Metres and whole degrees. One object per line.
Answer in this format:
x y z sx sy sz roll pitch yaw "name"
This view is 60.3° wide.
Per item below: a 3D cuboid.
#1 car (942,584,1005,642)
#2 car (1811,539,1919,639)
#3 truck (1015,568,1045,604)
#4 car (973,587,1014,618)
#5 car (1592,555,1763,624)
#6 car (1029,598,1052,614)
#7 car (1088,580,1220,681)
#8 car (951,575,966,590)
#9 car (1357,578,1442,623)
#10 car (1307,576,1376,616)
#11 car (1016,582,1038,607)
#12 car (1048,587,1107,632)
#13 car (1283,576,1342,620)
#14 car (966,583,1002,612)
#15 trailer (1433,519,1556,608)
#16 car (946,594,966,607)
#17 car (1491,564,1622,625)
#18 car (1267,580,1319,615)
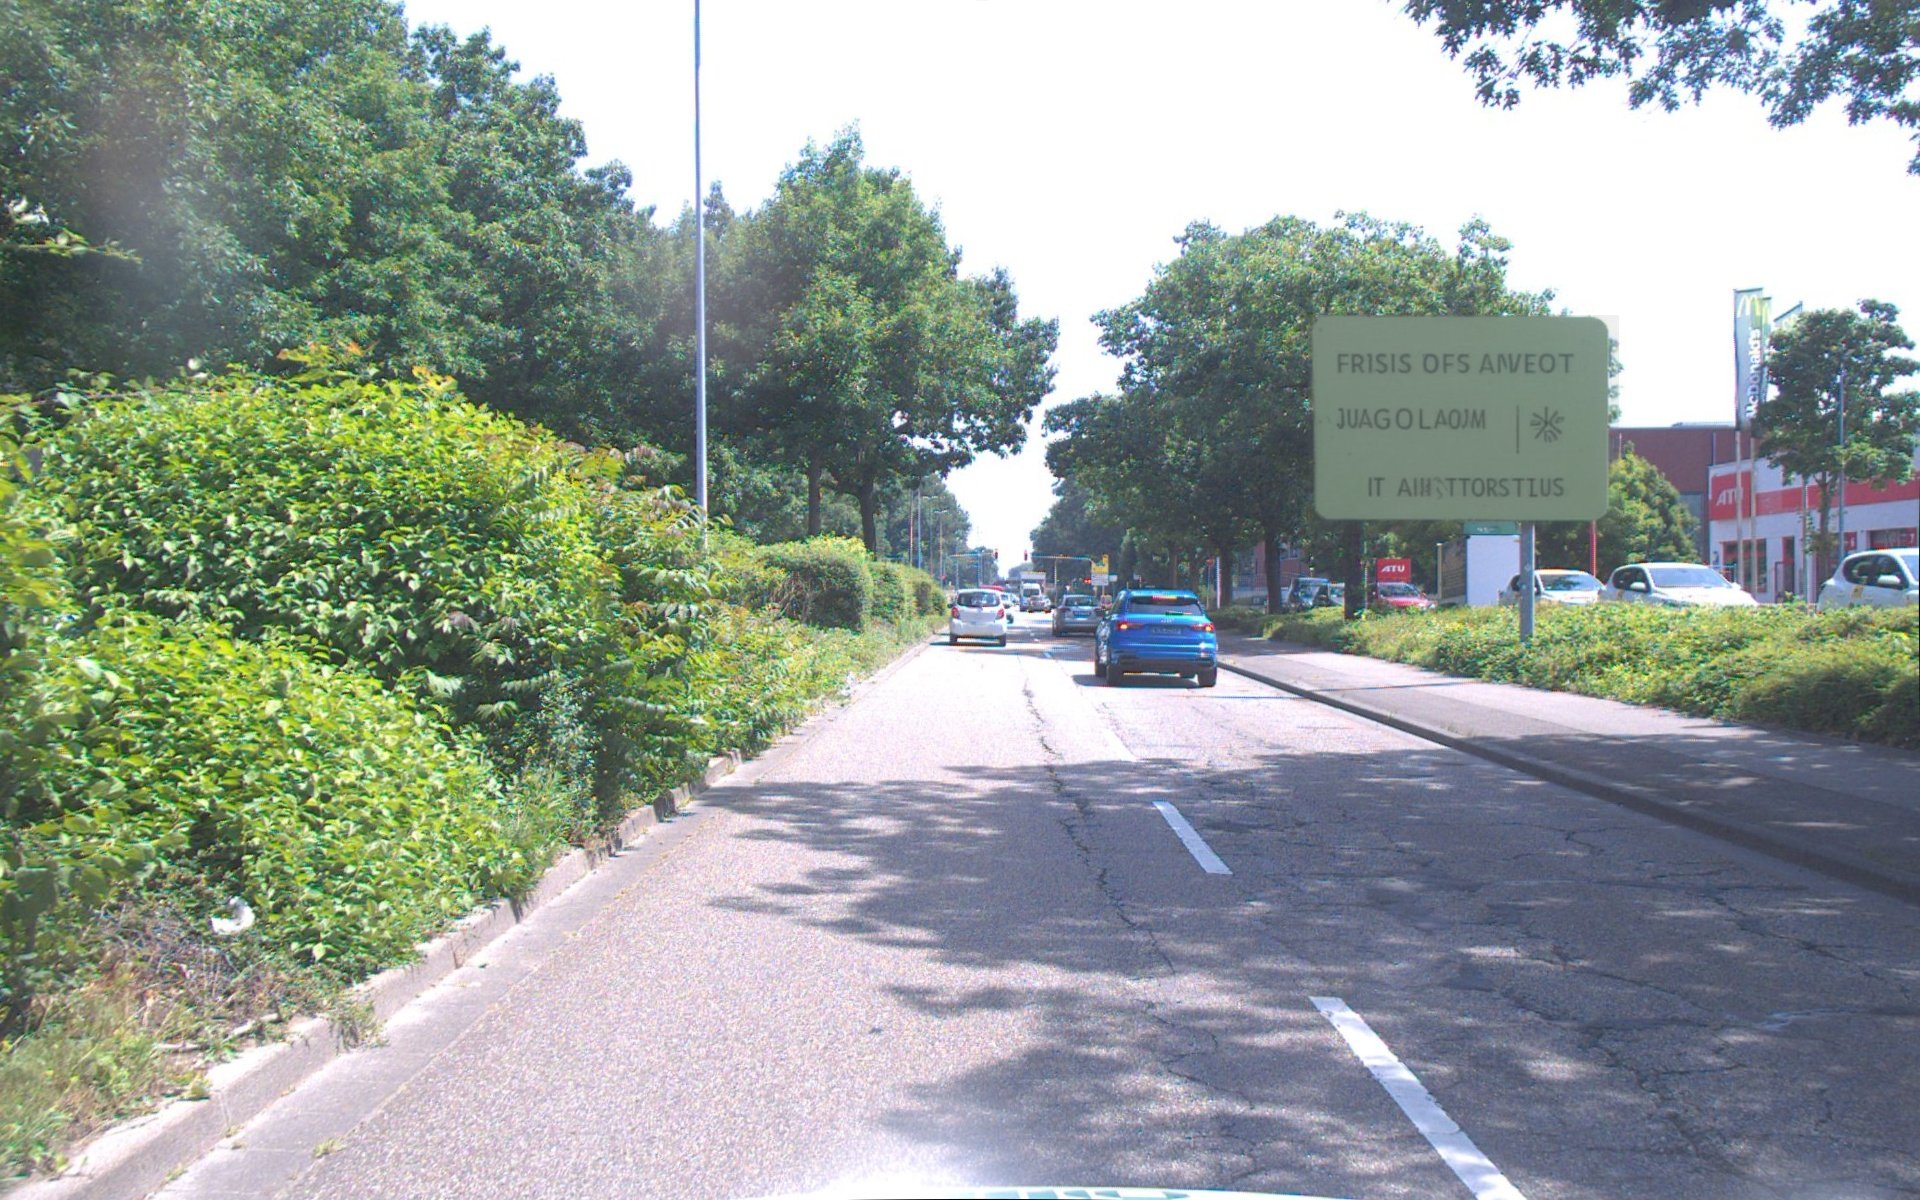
0.355 0.360 46.490 1.605 1.579 3.323 0 0 -3 "car"
13.172 -0.130 22.392 1.585 1.275 3.868 0 0 5 "car"
7.114 -1.425 169.848 2.871 3.564 9.159 -1 0 1 "truck"
1.596 0.123 77.756 1.845 1.378 4.001 0 0 2 "car"
13.027 -0.172 30.245 1.560 1.178 3.738 0 0 1 "car"
6.989 0.481 143.846 1.827 1.333 4.000 -1 0 1 "car"
3.305 0.505 28.848 1.772 1.620 4.349 0 0 0 "car"
-0.248 -2.437 230.174 1.953 2.049 3.999 -1 0 -2 "car"
14.282 -0.008 53.916 1.665 1.404 4.324 0 0 1 "car"
13.815 -0.154 60.125 1.665 1.404 3.906 0 0 1 "car"
6.454 -0.547 159.504 1.952 2.295 4.001 -1 0 1 "car"
4.041 0.331 57.413 1.827 1.499 4.000 0 0 1 "car"
13.921 -0.073 65.503 1.665 1.666 3.907 0 0 3 "car"
1.281 -0.146 90.960 1.759 1.550 3.998 0 0 -3 "car"
13.455 -0.881 41.960 1.665 2.091 5.486 0 0 4 "trailer"
-0.391 0.009 174.708 1.952 1.310 4.001 -1 0 1 "car"
13.090 -0.102 36.507 1.586 1.275 3.630 0 0 0 "car"
14.250 -0.084 70.931 1.665 1.449 4.656 0 0 5 "car"
